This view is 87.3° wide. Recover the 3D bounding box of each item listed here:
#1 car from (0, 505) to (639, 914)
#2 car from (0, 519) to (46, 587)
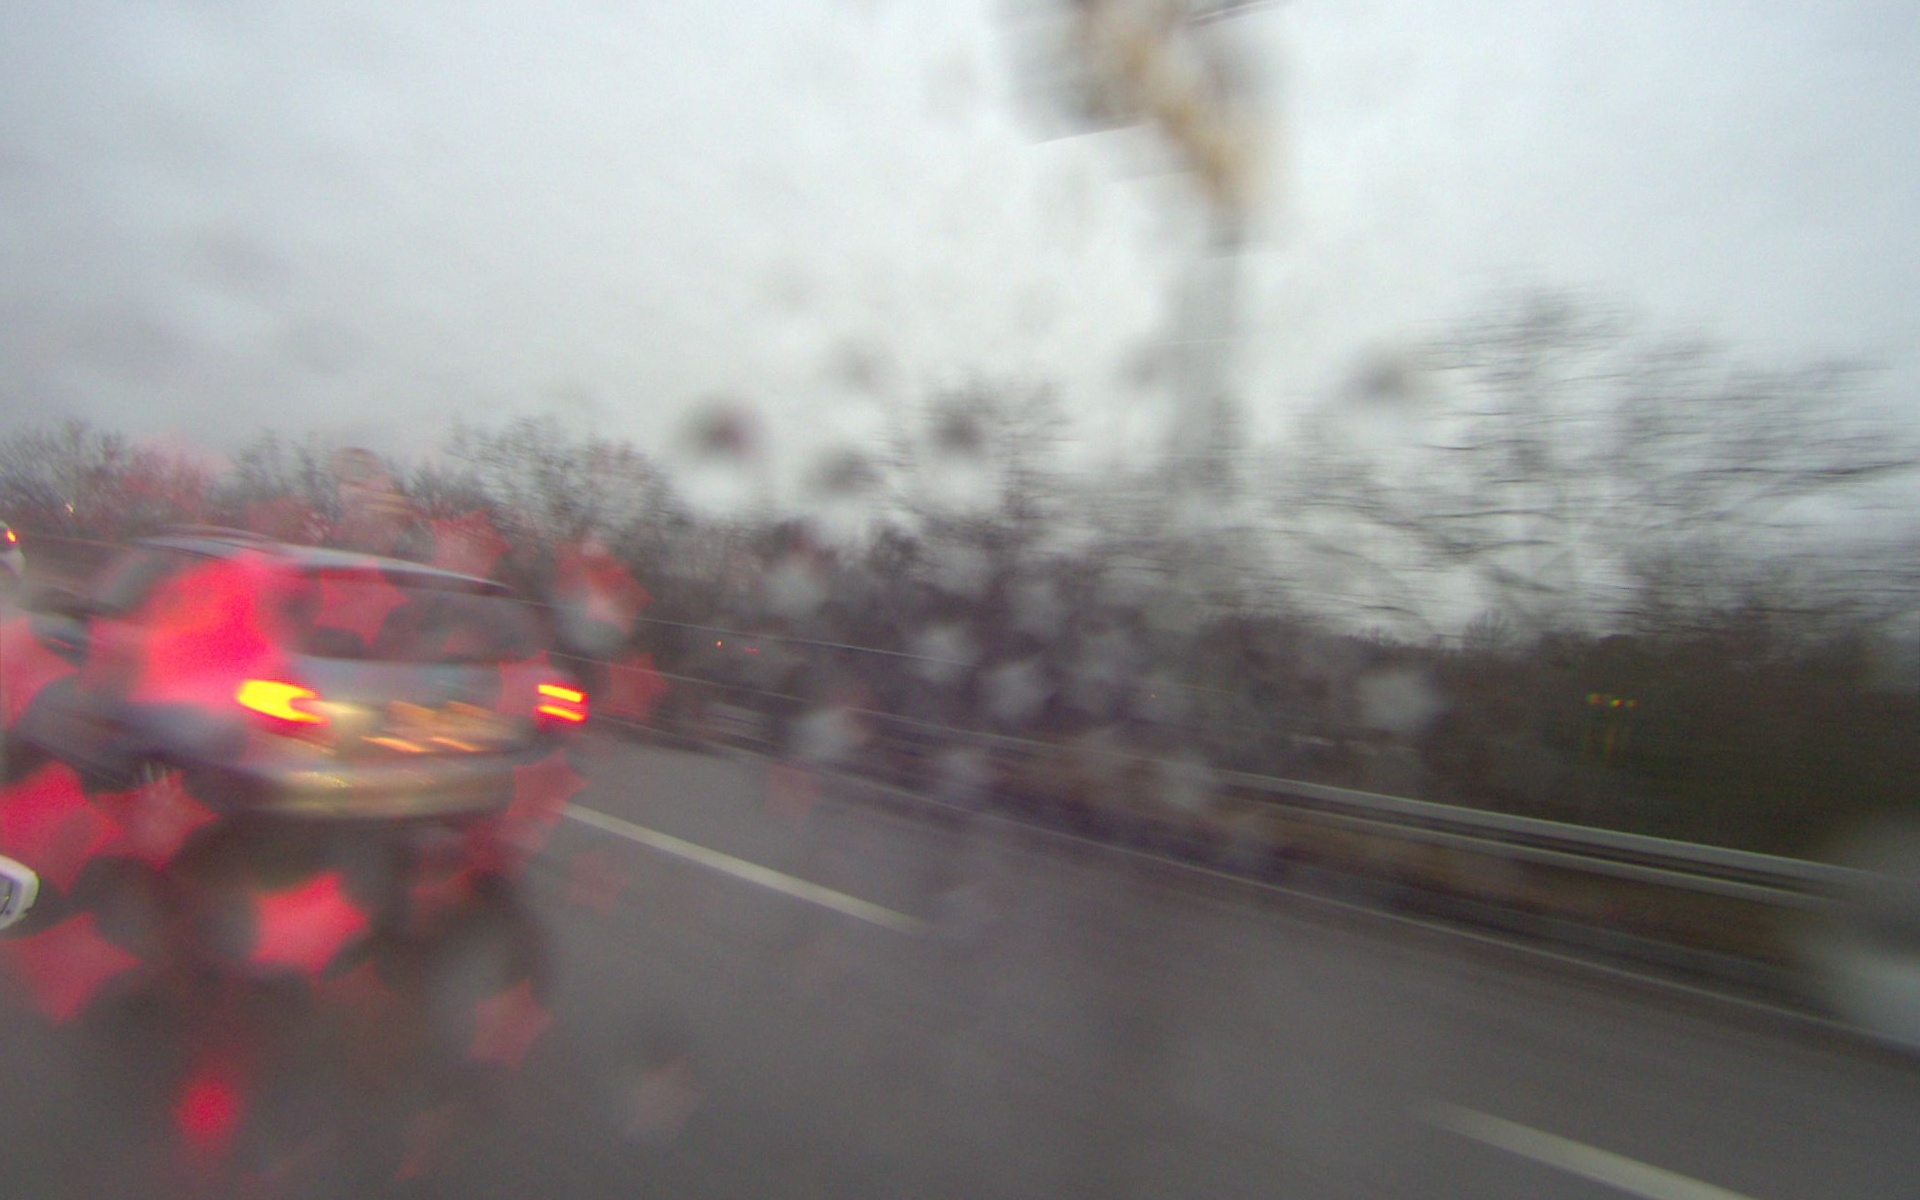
[{"bbox_3d":[-4.035,0.375,5.859,4.073,1.519,1.994,5,-1,35],"label":"car"},{"bbox_3d":[-22.235,-1.214,22.307,3.937,1.362,1.995,6,-1,34],"label":"car"}]
